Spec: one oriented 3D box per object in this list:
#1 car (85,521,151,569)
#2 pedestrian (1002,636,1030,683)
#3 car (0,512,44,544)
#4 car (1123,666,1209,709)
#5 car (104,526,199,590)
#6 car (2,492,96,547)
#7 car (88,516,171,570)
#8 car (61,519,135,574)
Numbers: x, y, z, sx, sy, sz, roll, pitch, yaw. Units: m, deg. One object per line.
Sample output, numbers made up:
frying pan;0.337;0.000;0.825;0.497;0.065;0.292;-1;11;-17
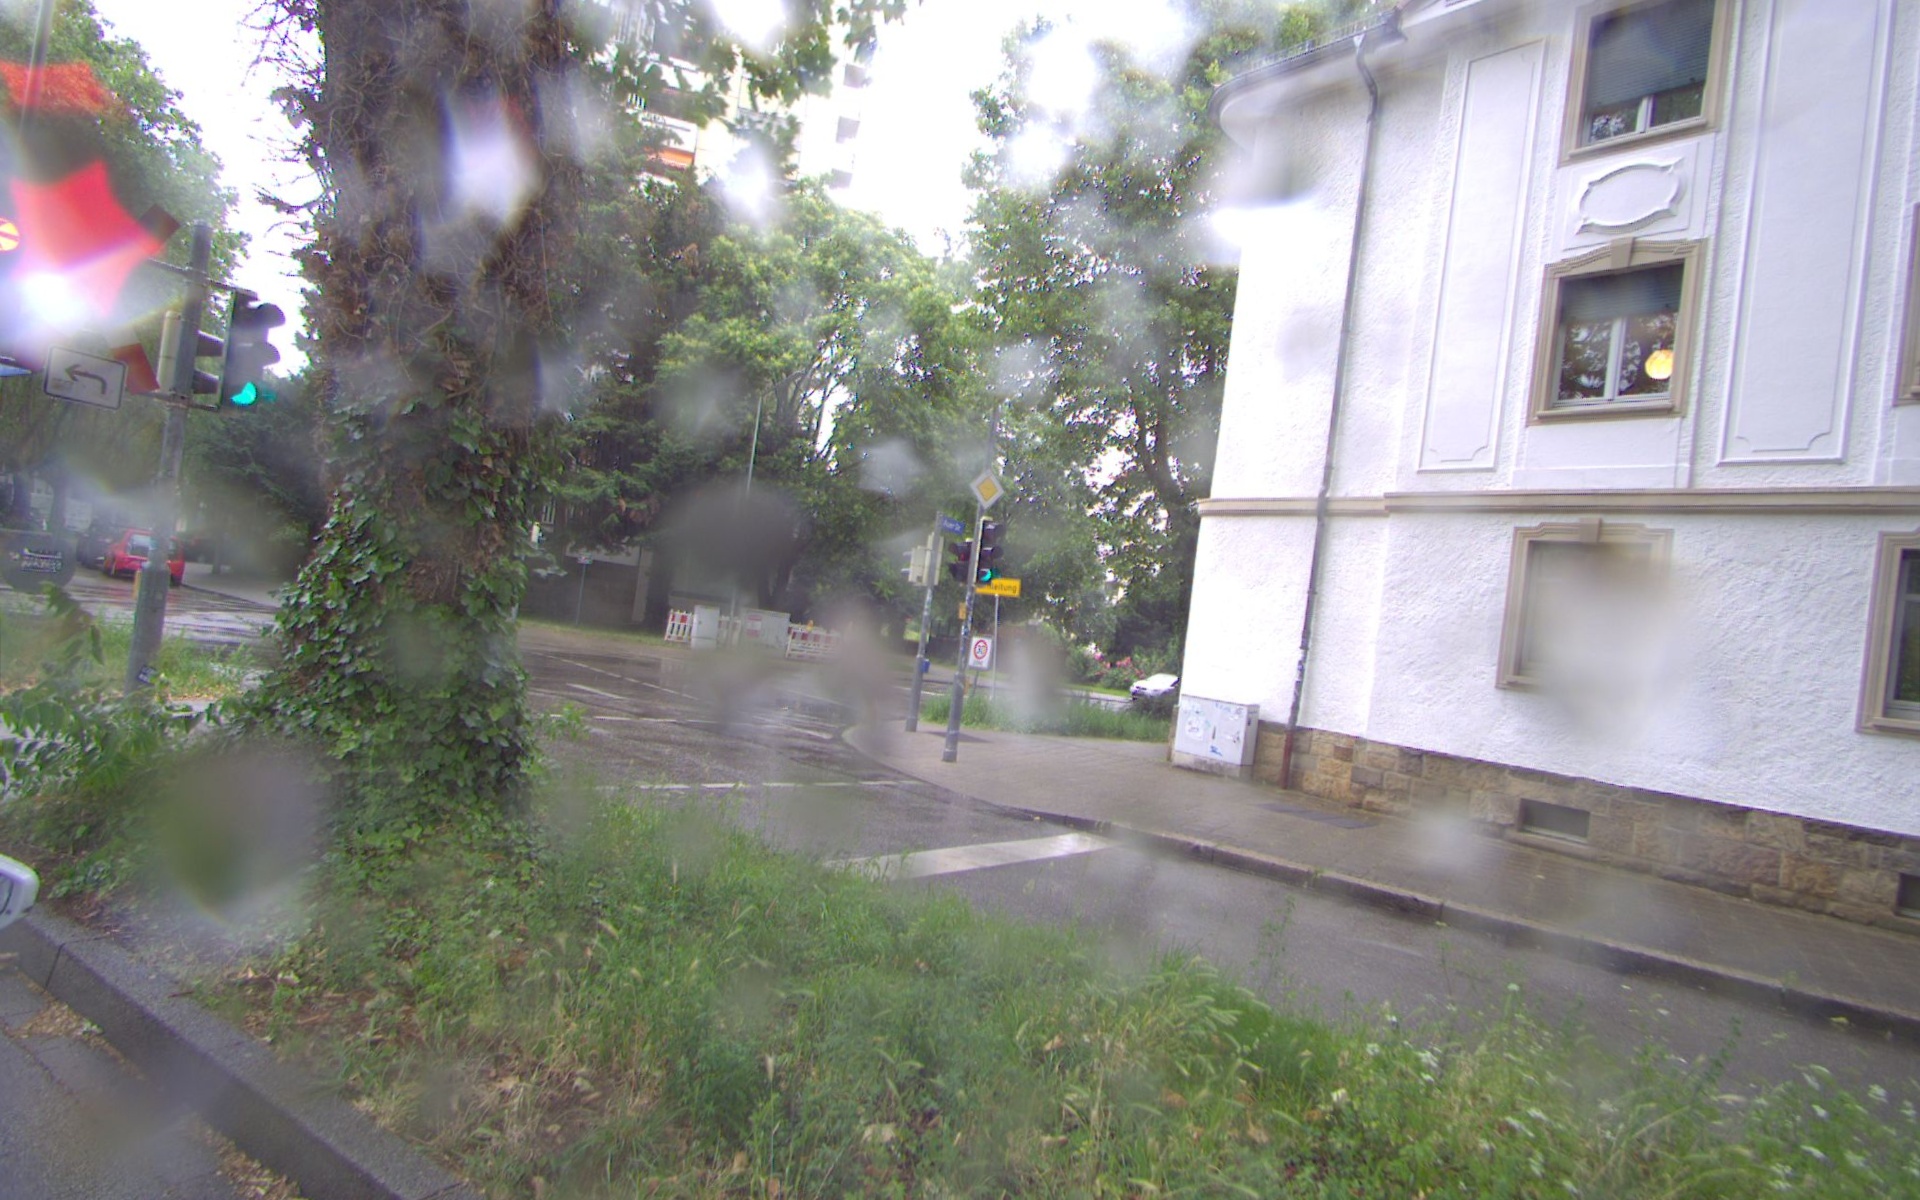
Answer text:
car;-38.719;-2.553;46.219;1.918;1.826;3.951;9;-2;-44
pedestrian;2.379;2.516;42.477;0.675;1.863;0.707;8;-1;-44
car;-56.200;-4.380;58.618;1.974;1.565;3.980;6;-3;44
car;9.415;4.004;45.797;1.829;1.473;3.979;6;-3;45
car;-24.826;-1.308;30.834;1.788;1.515;3.950;10;-2;-44
car;-61.106;-5.395;67.522;4.680;2.982;2.043;7;-1;12
car;-28.093;-1.936;33.990;1.780;1.363;3.879;10;-2;-44
car;-32.978;-2.078;38.445;1.779;1.747;3.951;9;-2;-44
